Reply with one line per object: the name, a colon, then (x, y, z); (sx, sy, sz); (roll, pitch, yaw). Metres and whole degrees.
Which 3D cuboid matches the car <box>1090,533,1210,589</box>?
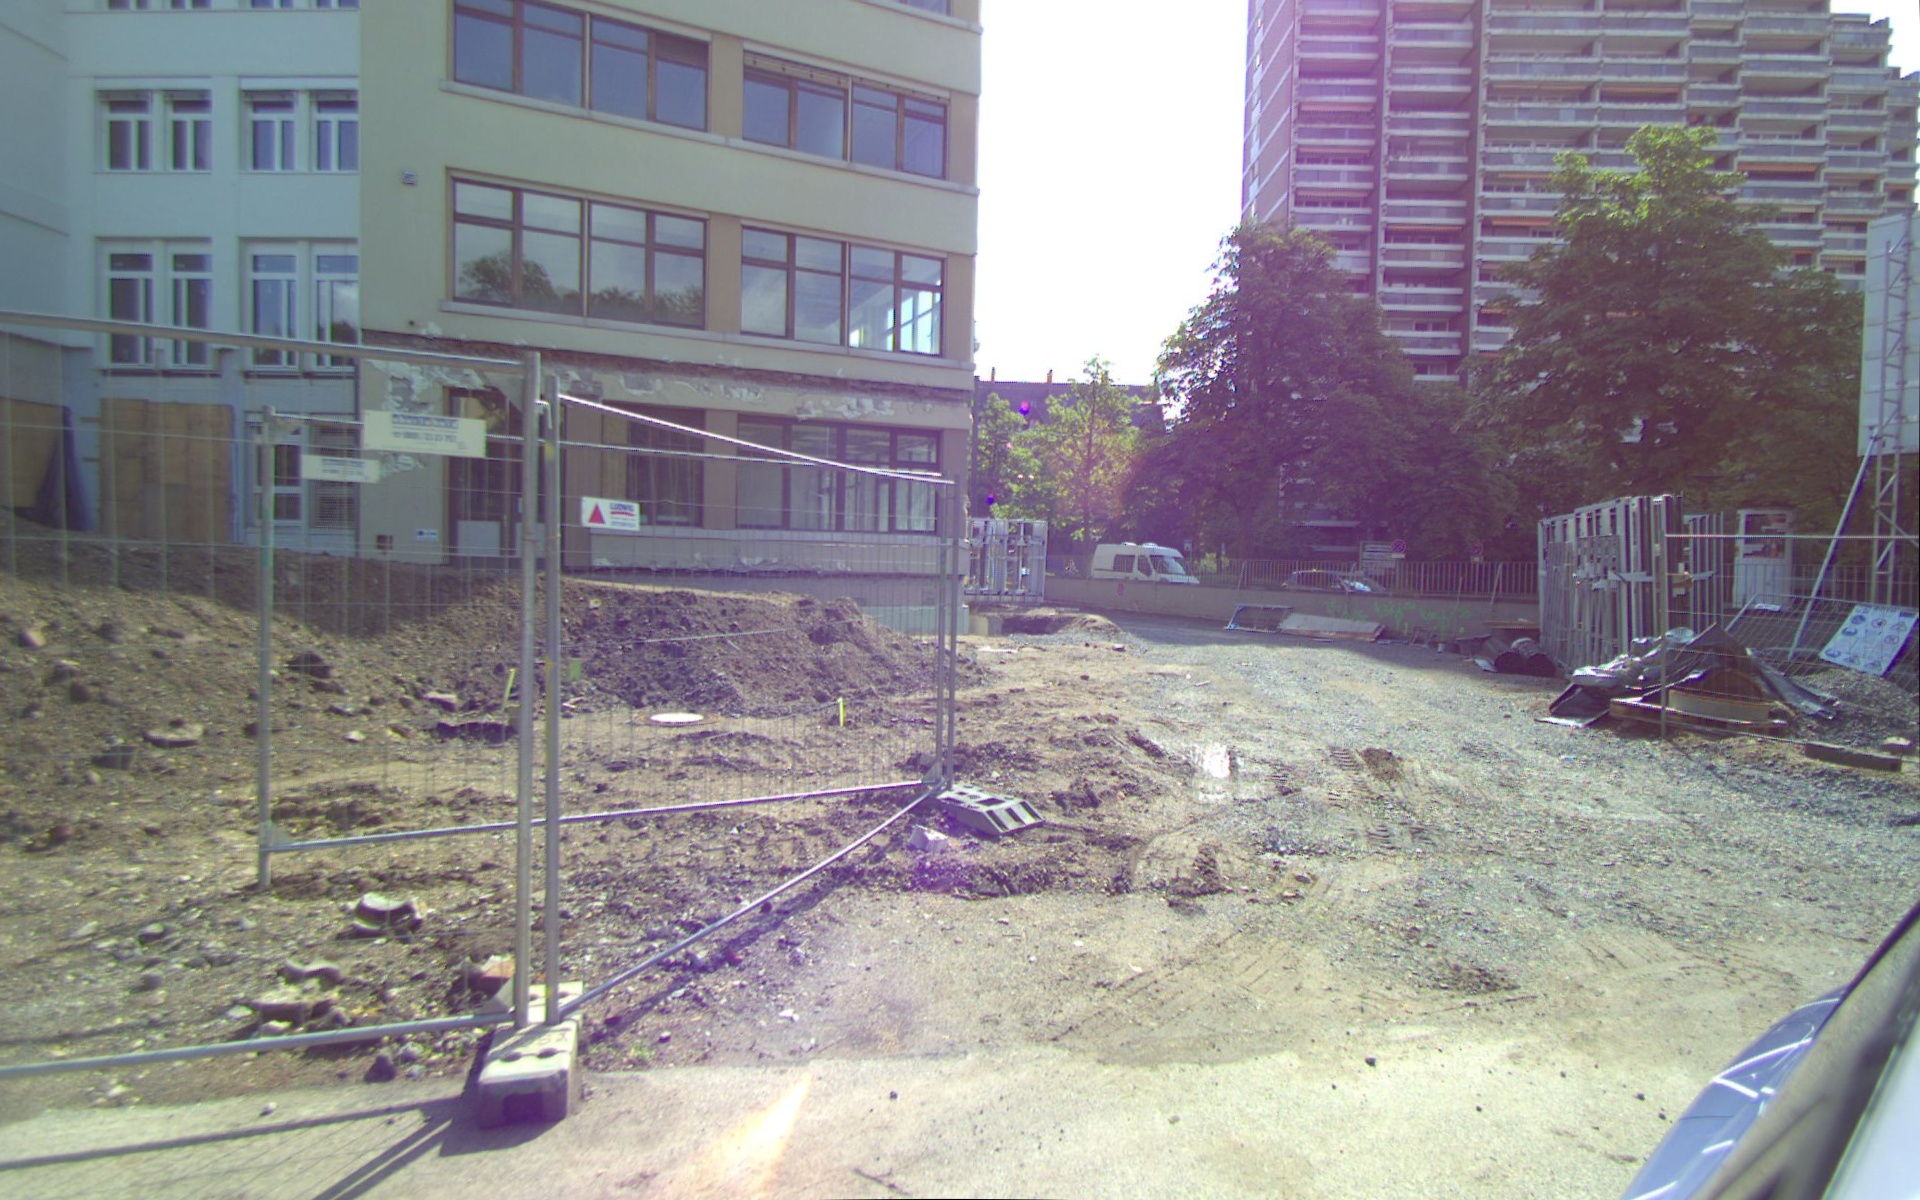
car: (7.304, -1.438, 39.564); (1.958, 2.039, 5.319); (0, 1, -23)
